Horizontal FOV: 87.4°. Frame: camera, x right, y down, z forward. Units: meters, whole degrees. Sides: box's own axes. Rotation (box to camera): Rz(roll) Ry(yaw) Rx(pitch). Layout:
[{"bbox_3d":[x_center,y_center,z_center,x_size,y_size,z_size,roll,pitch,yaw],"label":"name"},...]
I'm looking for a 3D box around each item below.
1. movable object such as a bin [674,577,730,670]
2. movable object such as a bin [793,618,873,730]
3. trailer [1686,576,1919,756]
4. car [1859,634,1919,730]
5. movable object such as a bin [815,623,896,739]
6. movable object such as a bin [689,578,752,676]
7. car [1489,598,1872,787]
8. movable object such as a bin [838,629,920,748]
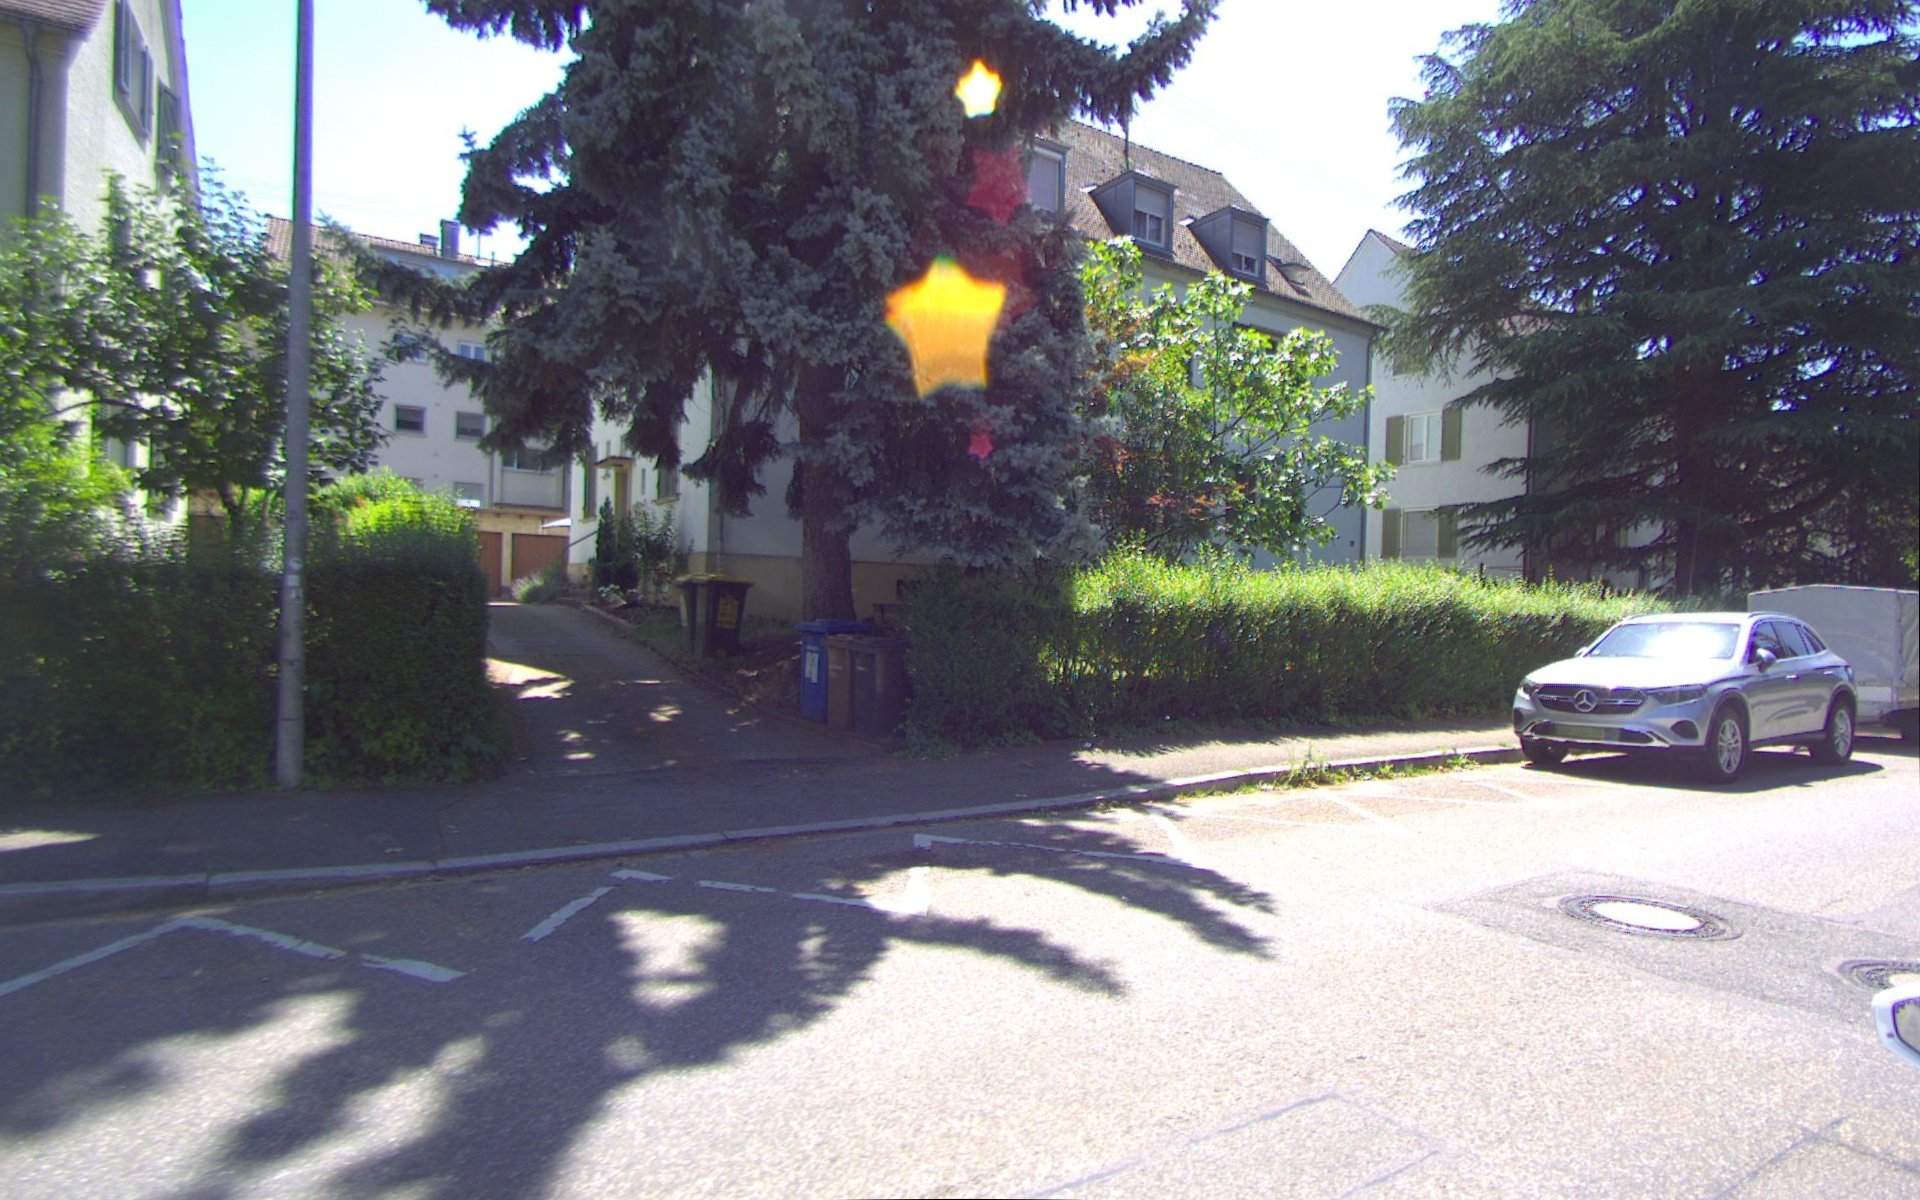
[{"bbox_3d":[-3.580,0.316,13.905,0.660,1.244,0.555,1,2,-23],"label":"movable object such as a bin"},{"bbox_3d":[-1.347,0.766,10.641,0.638,1.097,0.536,0,4,-32],"label":"movable object such as a bin"},{"bbox_3d":[11.715,0.840,13.458,4.118,2.067,1.837,2,-2,-33],"label":"trailer"},{"bbox_3d":[16.501,1.298,16.256,4.272,1.458,1.701,2,-2,-31],"label":"car"},{"bbox_3d":[-1.065,0.800,10.179,0.635,1.097,0.483,0,4,-32],"label":"movable object such as a bin"},{"bbox_3d":[-3.191,0.349,13.350,0.696,1.244,0.571,1,4,-23],"label":"movable object such as a bin"},{"bbox_3d":[8.022,0.919,11.064,4.661,1.693,1.841,2,-2,-33],"label":"car"},{"bbox_3d":[-0.790,0.841,9.774,0.610,1.080,0.483,0,4,-32],"label":"movable object such as a bin"}]
